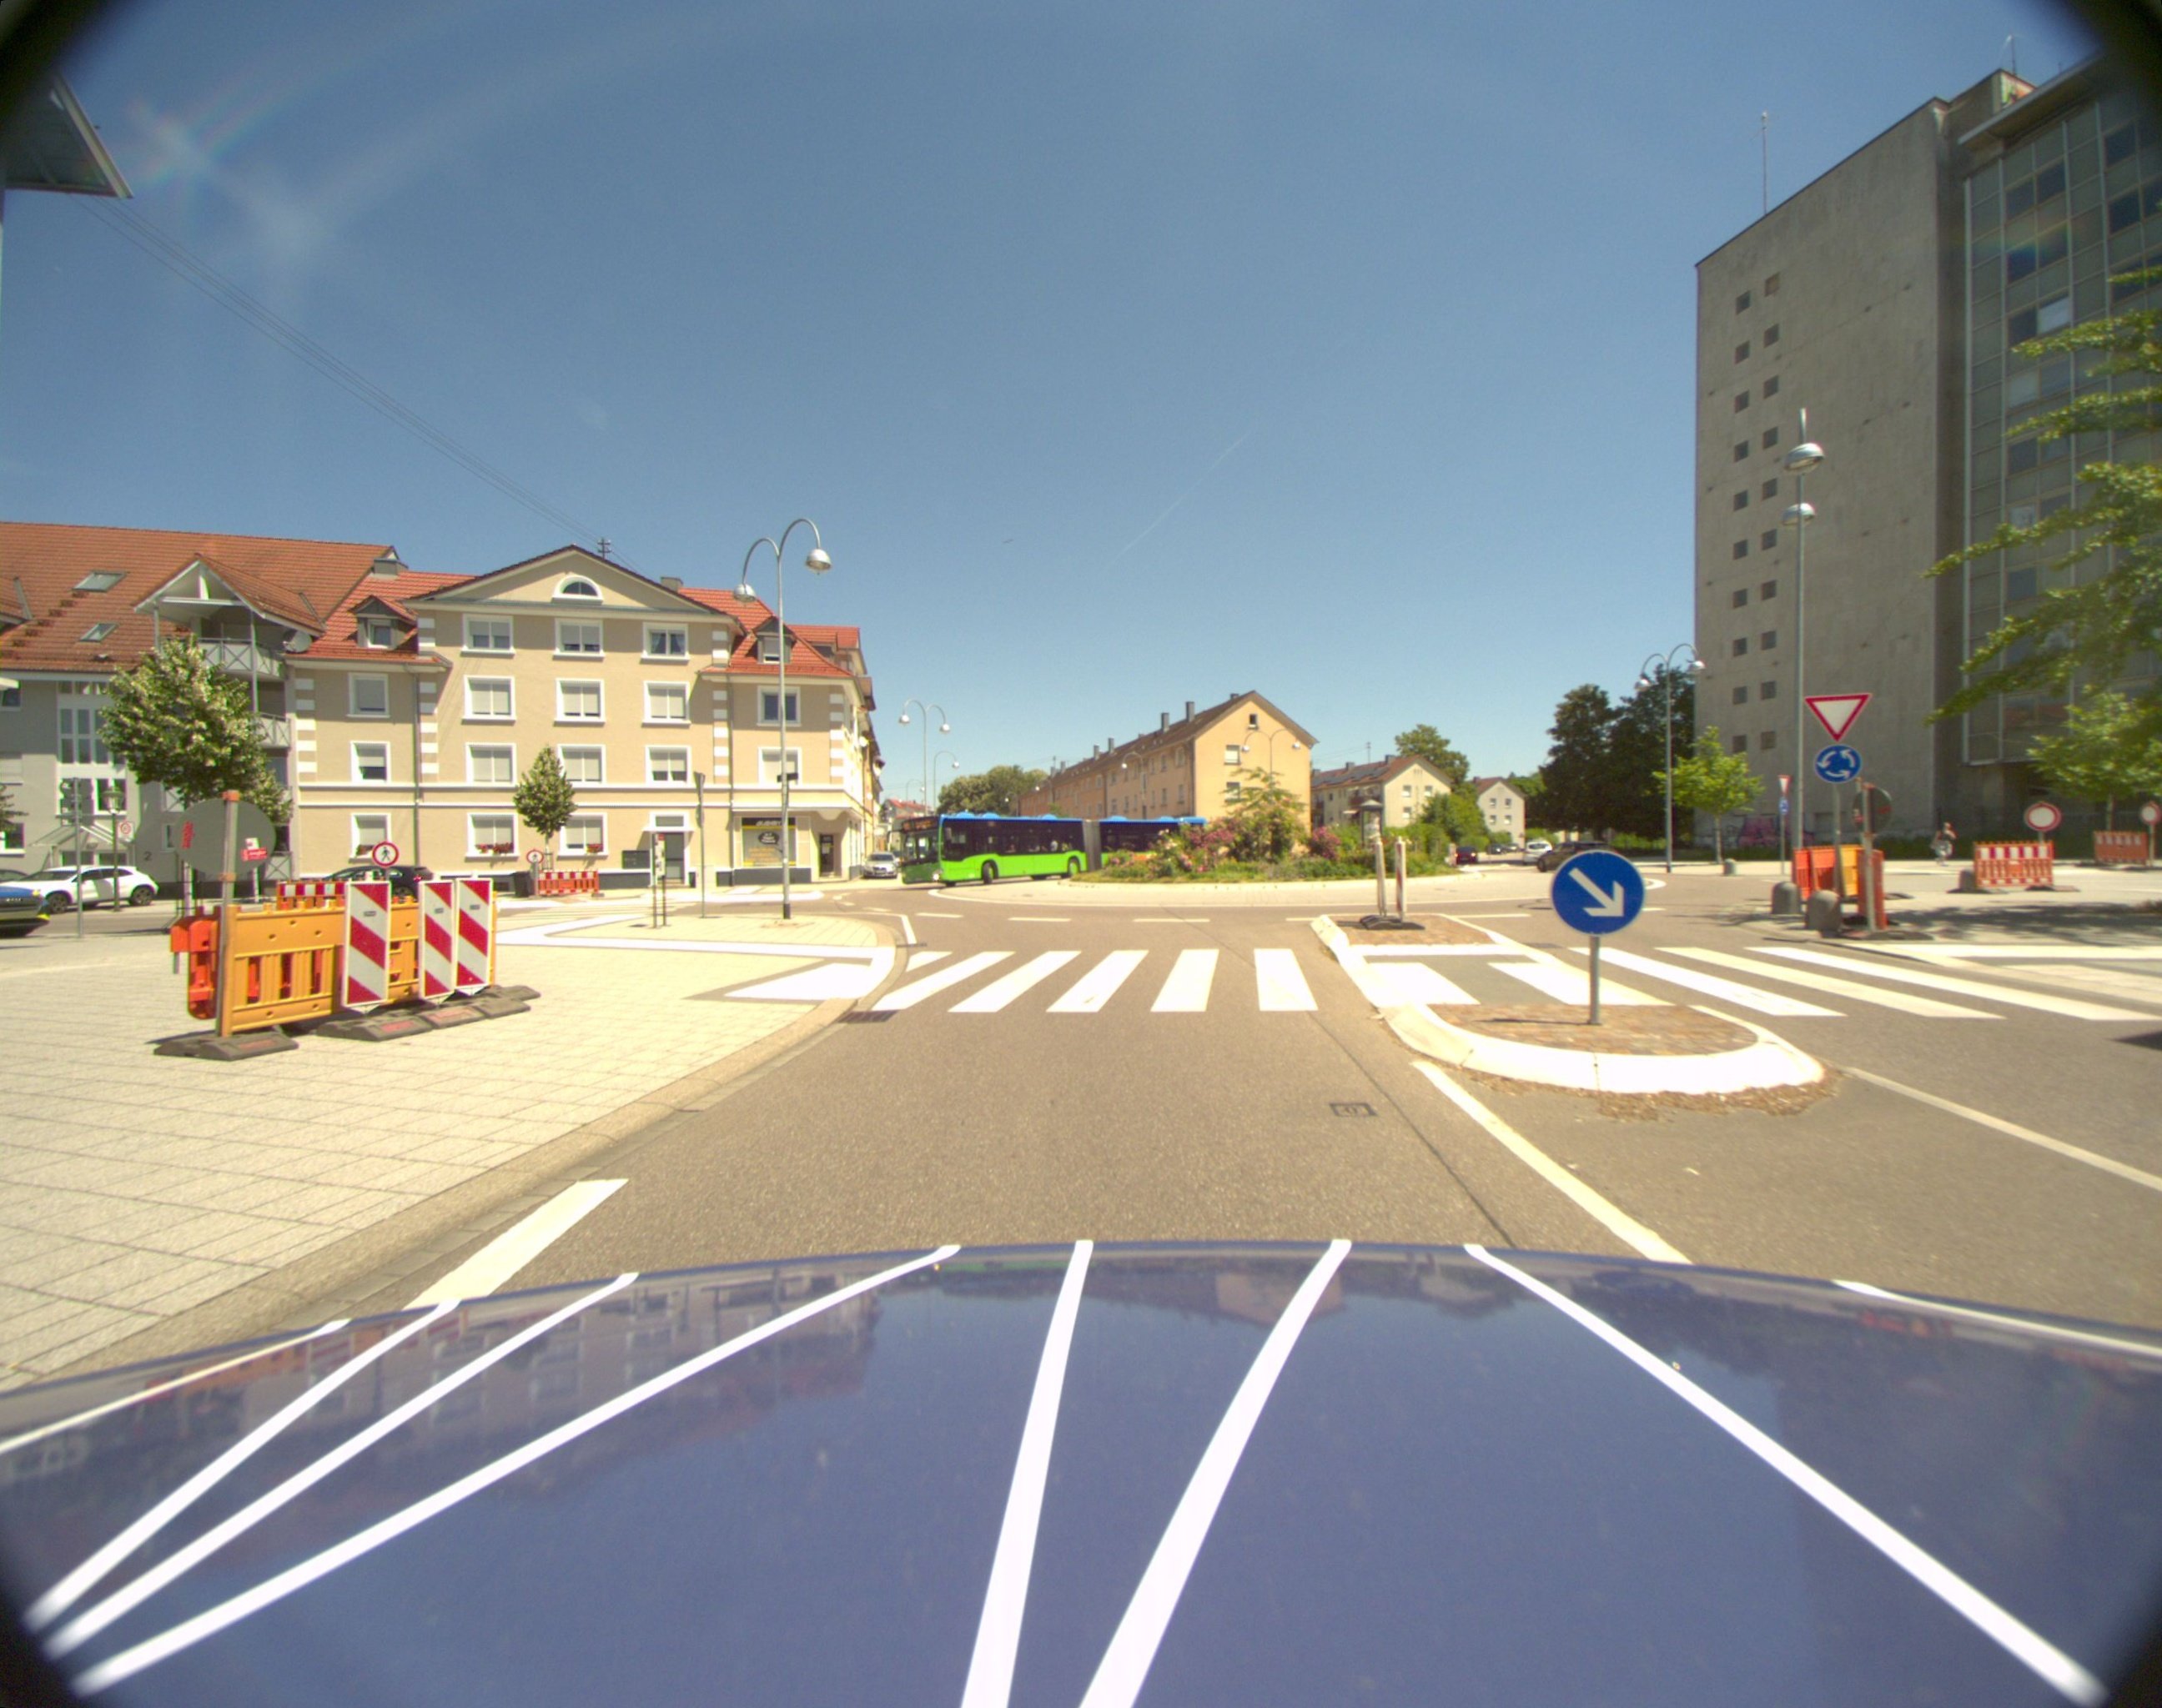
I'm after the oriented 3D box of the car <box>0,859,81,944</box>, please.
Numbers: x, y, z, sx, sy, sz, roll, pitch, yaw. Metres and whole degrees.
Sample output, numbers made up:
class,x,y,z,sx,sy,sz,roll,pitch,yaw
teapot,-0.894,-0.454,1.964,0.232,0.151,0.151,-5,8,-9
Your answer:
class,x,y,z,sx,sy,sz,roll,pitch,yaw
car,-23.637,0.977,15.248,4.248,1.689,1.761,-1,0,-9

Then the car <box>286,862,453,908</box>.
class,x,y,z,sx,sy,sz,roll,pitch,yaw
car,-26.043,1.095,28.000,4.004,1.437,1.895,-1,2,-20

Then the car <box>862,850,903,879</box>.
class,x,y,z,sx,sy,sz,roll,pitch,yaw
car,-10.988,0.541,42.192,1.827,1.403,3.995,1,1,-10

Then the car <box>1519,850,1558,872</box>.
class,x,y,z,sx,sy,sz,roll,pitch,yaw
car,28.950,0.402,48.023,1.780,1.347,4.062,0,0,36

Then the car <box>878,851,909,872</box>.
class,x,y,z,sx,sy,sz,roll,pitch,yaw
car,-13.344,0.487,54.165,1.827,1.402,3.996,1,0,-10

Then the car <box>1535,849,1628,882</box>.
class,x,y,z,sx,sy,sz,roll,pitch,yaw
car,21.424,0.459,32.745,1.729,1.288,4.001,1,1,7

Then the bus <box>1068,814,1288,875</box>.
class,x,y,z,sx,sy,sz,roll,pitch,yaw
bus,5.616,-0.589,42.344,12.579,3.043,2.925,-2,0,-27

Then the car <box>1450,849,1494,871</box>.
class,x,y,z,sx,sy,sz,roll,pitch,yaw
car,30.369,0.462,59.026,3.944,1.592,1.732,-2,0,-42

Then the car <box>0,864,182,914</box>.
class,x,y,z,sx,sy,sz,roll,pitch,yaw
car,-34.683,1.157,26.559,1.810,1.437,4.243,-1,2,-9

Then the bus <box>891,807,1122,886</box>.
class,x,y,z,sx,sy,sz,roll,pitch,yaw
bus,-2.826,-0.351,35.403,2.905,3.062,12.587,-2,0,37

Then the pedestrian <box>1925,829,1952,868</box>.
class,x,y,z,sx,sy,sz,roll,pitch,yaw
pedestrian,31.892,-0.202,28.257,0.430,1.421,0.563,-2,1,-21
